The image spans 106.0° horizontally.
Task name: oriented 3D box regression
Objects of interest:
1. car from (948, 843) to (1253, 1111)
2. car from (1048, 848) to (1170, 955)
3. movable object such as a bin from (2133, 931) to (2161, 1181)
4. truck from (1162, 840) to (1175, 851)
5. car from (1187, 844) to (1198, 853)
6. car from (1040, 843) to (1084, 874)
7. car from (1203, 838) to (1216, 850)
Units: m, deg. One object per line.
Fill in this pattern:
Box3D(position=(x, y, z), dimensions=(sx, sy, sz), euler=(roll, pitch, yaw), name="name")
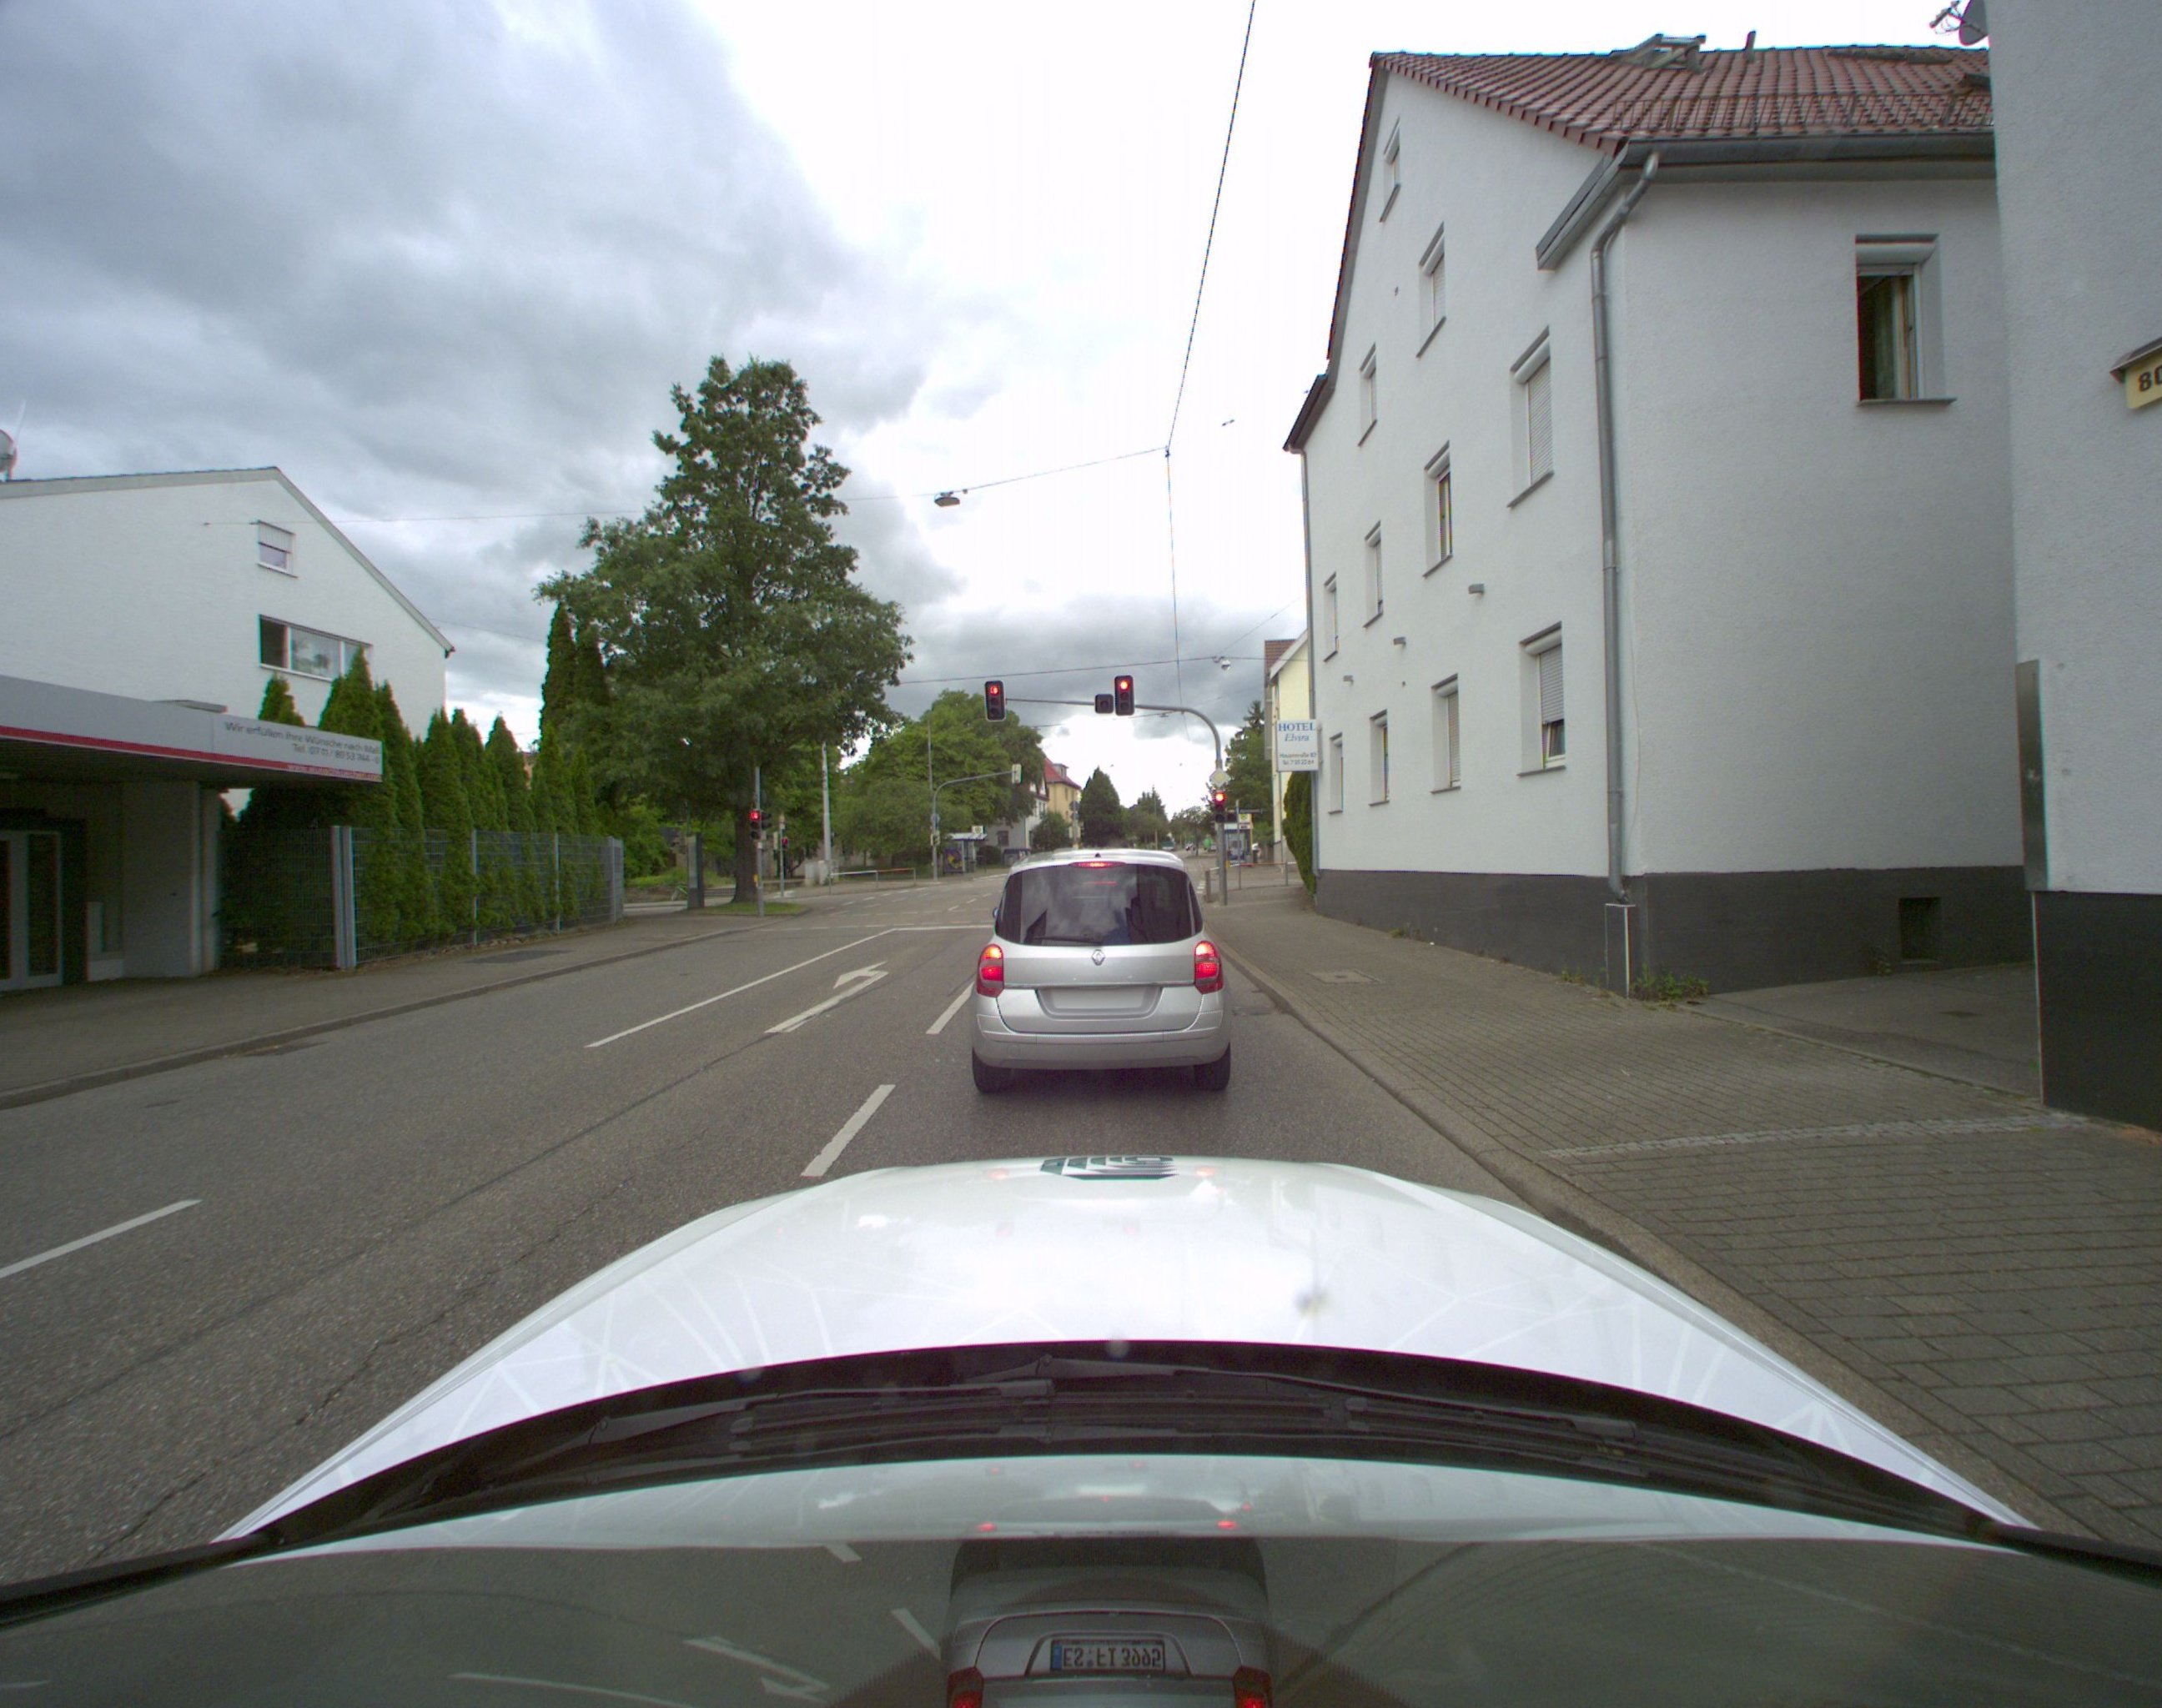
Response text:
Box3D(position=(0.165, 0.718, 6.727), dimensions=(1.748, 1.530, 4.001), euler=(-1, 0, 1), name="car")
Box3D(position=(0.455, 0.694, 13.744), dimensions=(1.748, 1.530, 3.798), euler=(-1, 0, 1), name="car")
Box3D(position=(4.327, 0.751, 2.869), dimensions=(0.538, 0.941, 0.487), euler=(-4, -1, 2), name="movable object such as a bin")
Box3D(position=(17.883, -1.727, 166.363), dimensions=(2.088, 2.013, 5.766), euler=(-1, 0, 11), name="truck")
Box3D(position=(22.562, -1.097, 164.229), dimensions=(1.844, 1.748, 4.015), euler=(-1, 0, 13), name="car")
Box3D(position=(-1.226, 0.267, 54.383), dimensions=(1.913, 1.773, 4.013), euler=(-6, -1, 12), name="car")
Box3D(position=(26.535, -2.029, 168.213), dimensions=(2.044, 2.512, 5.616), euler=(-1, 0, 14), name="car")
